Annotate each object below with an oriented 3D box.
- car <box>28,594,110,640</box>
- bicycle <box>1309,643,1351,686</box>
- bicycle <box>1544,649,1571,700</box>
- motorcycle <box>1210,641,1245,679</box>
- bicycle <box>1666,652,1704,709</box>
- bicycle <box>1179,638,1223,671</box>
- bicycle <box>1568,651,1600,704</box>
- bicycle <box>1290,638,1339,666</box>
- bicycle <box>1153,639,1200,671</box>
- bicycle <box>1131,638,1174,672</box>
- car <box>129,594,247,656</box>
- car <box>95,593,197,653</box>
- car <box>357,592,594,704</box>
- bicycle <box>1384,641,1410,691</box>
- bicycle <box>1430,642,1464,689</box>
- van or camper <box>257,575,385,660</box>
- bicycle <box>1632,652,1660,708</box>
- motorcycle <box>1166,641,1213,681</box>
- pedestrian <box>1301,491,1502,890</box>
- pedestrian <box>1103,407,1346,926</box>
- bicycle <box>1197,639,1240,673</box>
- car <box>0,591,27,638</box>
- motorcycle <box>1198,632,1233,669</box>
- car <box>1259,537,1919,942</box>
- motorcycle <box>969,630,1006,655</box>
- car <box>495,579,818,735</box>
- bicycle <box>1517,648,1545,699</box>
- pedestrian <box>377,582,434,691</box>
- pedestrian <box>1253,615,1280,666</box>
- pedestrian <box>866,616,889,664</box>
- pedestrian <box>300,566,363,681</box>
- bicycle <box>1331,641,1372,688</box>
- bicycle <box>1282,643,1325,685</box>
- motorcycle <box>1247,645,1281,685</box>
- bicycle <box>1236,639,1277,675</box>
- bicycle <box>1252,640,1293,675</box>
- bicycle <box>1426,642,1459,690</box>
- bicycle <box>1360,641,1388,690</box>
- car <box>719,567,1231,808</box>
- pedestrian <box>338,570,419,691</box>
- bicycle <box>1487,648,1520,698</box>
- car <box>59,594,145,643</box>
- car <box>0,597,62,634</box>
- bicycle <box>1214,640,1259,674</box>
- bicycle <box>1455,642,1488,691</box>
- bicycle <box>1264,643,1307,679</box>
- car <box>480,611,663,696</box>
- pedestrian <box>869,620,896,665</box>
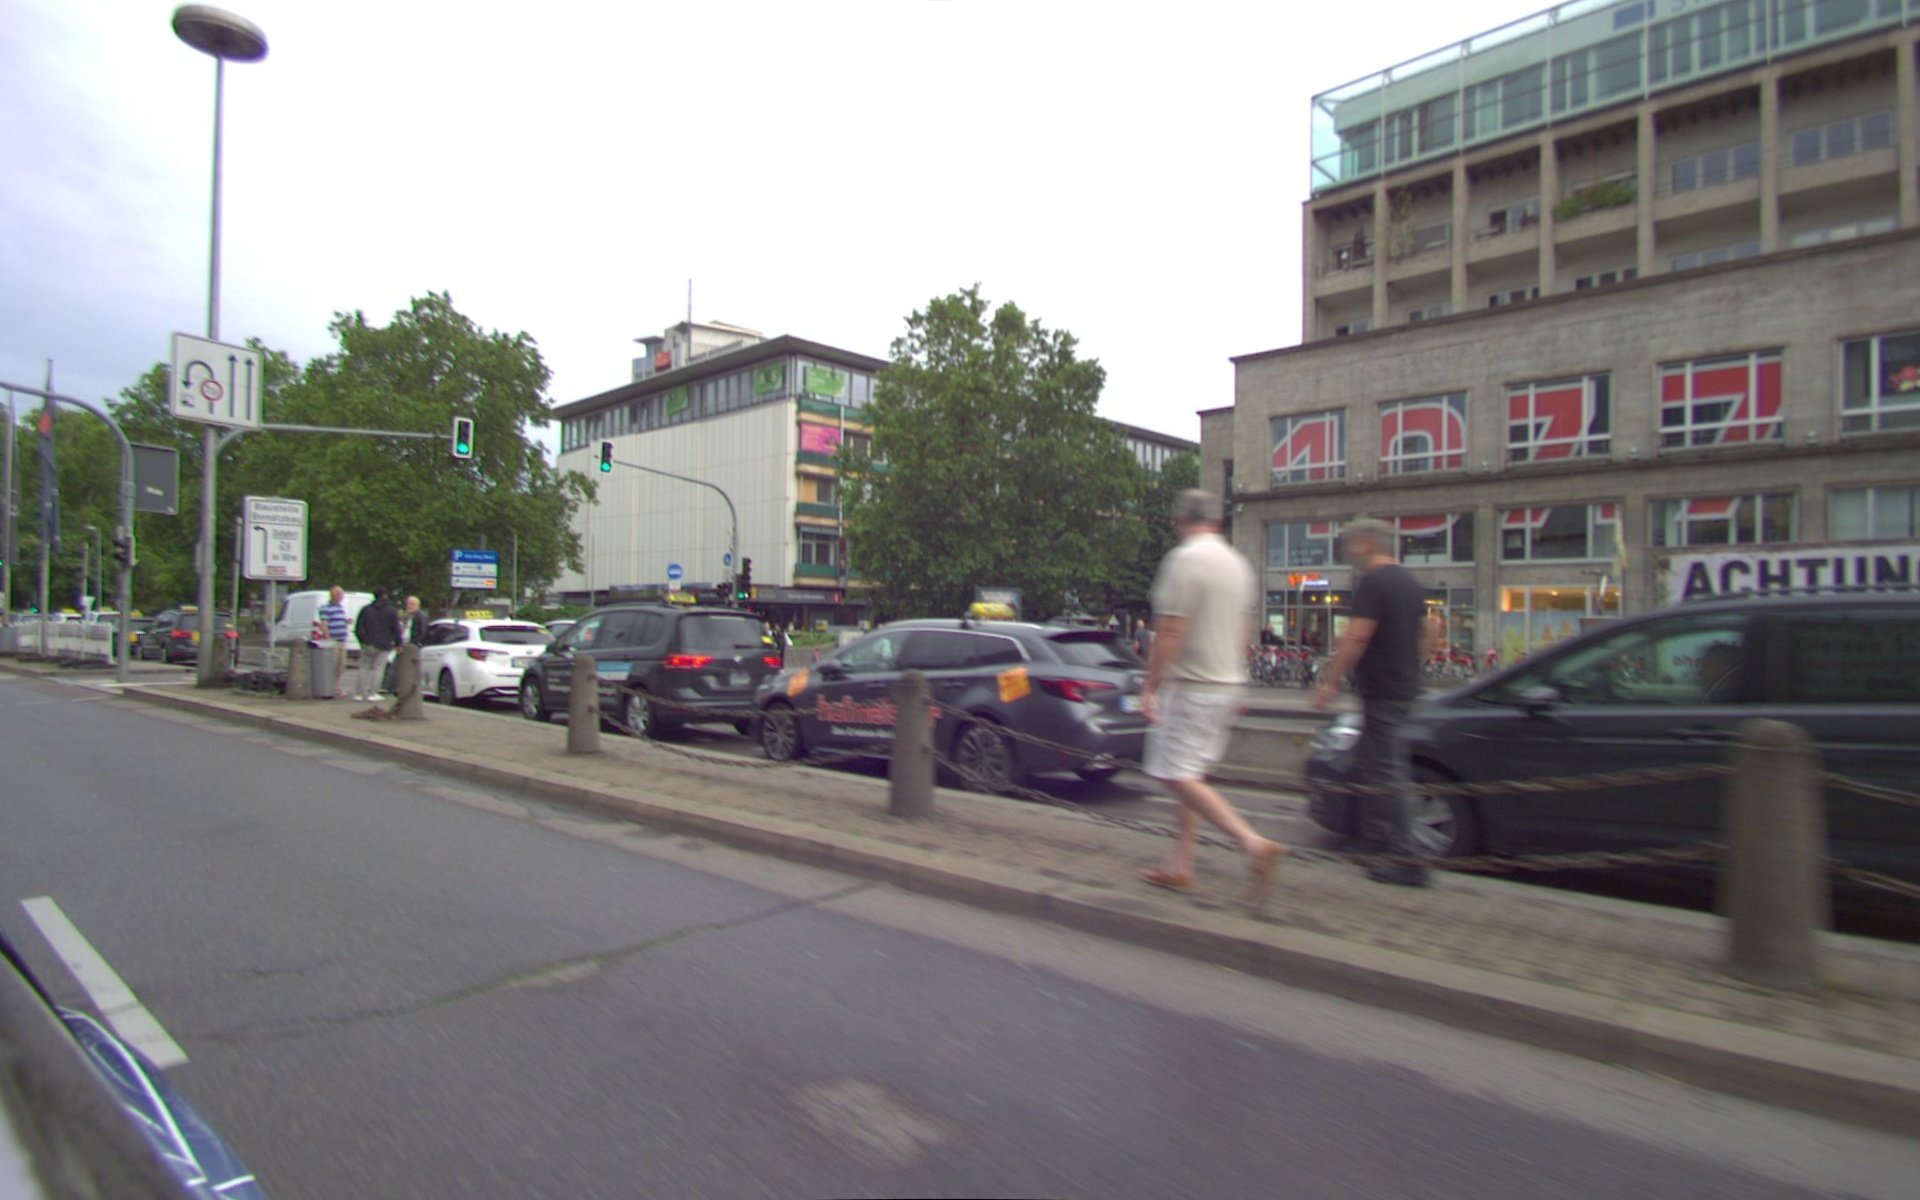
[{"bbox_3d":[-38.567,0.757,43.776,4.562,1.865,1.895,-1,-3,39],"label":"car"},{"bbox_3d":[10.448,1.809,28.544,0.595,1.085,2.070,-1,-1,35],"label":"bicycle"},{"bbox_3d":[16.580,2.048,28.064,0.570,1.335,1.548,-1,-1,33],"label":"bicycle"},{"bbox_3d":[8.159,1.814,30.802,0.581,1.065,1.695,-1,-1,30],"label":"motorcycle"},{"bbox_3d":[18.601,2.042,26.003,0.678,1.335,2.188,-1,-1,33],"label":"bicycle"},{"bbox_3d":[8.449,1.907,35.464,1.591,1.065,0.511,-1,-1,-31],"label":"bicycle"},{"bbox_3d":[16.980,2.073,27.533,0.678,1.335,1.911,-1,-1,33],"label":"bicycle"},{"bbox_3d":[11.403,1.673,32.591,1.377,0.857,0.673,-1,-1,31],"label":"bicycle"},{"bbox_3d":[7.737,1.944,36.155,1.591,1.065,0.707,-1,-1,-31],"label":"bicycle"},{"bbox_3d":[6.994,1.985,36.718,1.464,1.139,0.682,-1,-1,-35],"label":"bicycle"},{"bbox_3d":[-23.090,0.722,30.201,4.497,1.712,1.884,-1,-1,40],"label":"car"},{"bbox_3d":[-27.743,0.776,34.434,4.520,1.912,1.884,-1,-1,40],"label":"car"},{"bbox_3d":[-8.317,0.754,17.163,4.842,1.633,1.993,-1,-2,43],"label":"car"},{"bbox_3d":[13.507,2.006,31.235,0.512,1.445,1.473,-1,-1,31],"label":"bicycle"},{"bbox_3d":[14.442,1.919,30.003,0.678,1.335,1.653,-1,-1,33],"label":"bicycle"},{"bbox_3d":[-20.840,0.606,32.912,5.368,2.533,1.972,-1,-4,41],"label":"van or camper"},{"bbox_3d":[18.056,2.073,26.652,0.559,1.335,2.189,-1,-1,33],"label":"bicycle"},{"bbox_3d":[7.161,1.890,31.580,0.583,1.143,1.789,-1,-1,44],"label":"motorcycle"},{"bbox_3d":[2.178,0.408,4.992,0.711,1.768,0.691,-1,-2,43],"label":"pedestrian"},{"bbox_3d":[1.168,0.261,4.479,0.772,2.023,0.715,-1,-1,43],"label":"pedestrian"},{"bbox_3d":[8.884,1.911,34.719,1.591,1.065,0.426,-1,-1,-31],"label":"bicycle"},{"bbox_3d":[-39.456,0.612,40.895,4.807,1.831,1.973,-2,-3,41],"label":"car"},{"bbox_3d":[7.801,1.526,30.878,0.601,1.065,1.427,-1,-1,32],"label":"motorcycle"},{"bbox_3d":[4.227,0.629,5.408,4.681,1.703,1.909,0,-3,42],"label":"car"},{"bbox_3d":[1.239,1.902,45.550,1.715,1.055,0.525,-1,-2,40],"label":"motorcycle"},{"bbox_3d":[-4.134,0.677,13.349,4.681,1.703,1.909,0,-3,42],"label":"car"},{"bbox_3d":[16.102,2.041,28.526,0.579,1.335,1.692,-1,-1,33],"label":"bicycle"},{"bbox_3d":[-9.069,0.585,16.545,0.593,1.724,0.644,-2,-1,41],"label":"pedestrian"},{"bbox_3d":[12.395,1.636,40.950,0.820,2.029,0.867,-1,-1,37],"label":"pedestrian"},{"bbox_3d":[-2.941,1.432,36.144,0.606,1.654,0.525,0,-4,23],"label":"pedestrian"},{"bbox_3d":[-10.047,0.386,16.195,0.550,1.789,0.754,3,-3,-13],"label":"pedestrian"},{"bbox_3d":[10.926,1.771,28.205,0.595,1.189,2.070,-1,-1,35],"label":"bicycle"},{"bbox_3d":[9.853,1.811,28.998,0.595,1.064,2.070,-1,-1,35],"label":"bicycle"},{"bbox_3d":[9.047,1.914,30.055,0.581,1.065,1.695,-1,-1,30],"label":"motorcycle"},{"bbox_3d":[9.949,1.895,33.977,1.583,1.118,0.434,-1,-1,-37],"label":"bicycle"},{"bbox_3d":[10.414,1.910,33.702,1.593,1.065,0.457,-1,-1,-38],"label":"bicycle"},{"bbox_3d":[14.337,1.944,30.052,0.678,1.335,1.653,-1,-1,33],"label":"bicycle"},{"bbox_3d":[12.994,2.041,31.742,0.565,1.445,1.473,-1,-1,31],"label":"bicycle"},{"bbox_3d":[-0.075,0.668,9.457,4.681,1.703,1.909,0,-3,42],"label":"car"},{"bbox_3d":[-8.852,0.468,15.425,0.604,1.789,0.776,0,-4,31],"label":"pedestrian"},{"bbox_3d":[15.586,2.075,29.008,0.678,1.335,1.692,-1,-1,33],"label":"bicycle"},{"bbox_3d":[-32.473,0.734,38.261,4.480,1.735,1.765,-2,-3,41],"label":"car"},{"bbox_3d":[-45.420,0.750,49.242,4.417,1.715,1.872,-1,-1,39],"label":"car"},{"bbox_3d":[9.380,1.927,34.270,1.592,1.065,0.499,-1,-1,-32],"label":"bicycle"},{"bbox_3d":[14.934,1.914,29.542,0.678,1.335,1.714,-1,-1,33],"label":"bicycle"},{"bbox_3d":[10.689,1.991,33.225,1.592,1.065,0.445,-1,-1,-36],"label":"bicycle"},{"bbox_3d":[-8.797,1.128,22.709,4.681,1.703,1.909,0,-3,42],"label":"car"},{"bbox_3d":[-2.737,1.500,35.755,0.747,1.584,0.472,0,-4,25],"label":"pedestrian"}]
